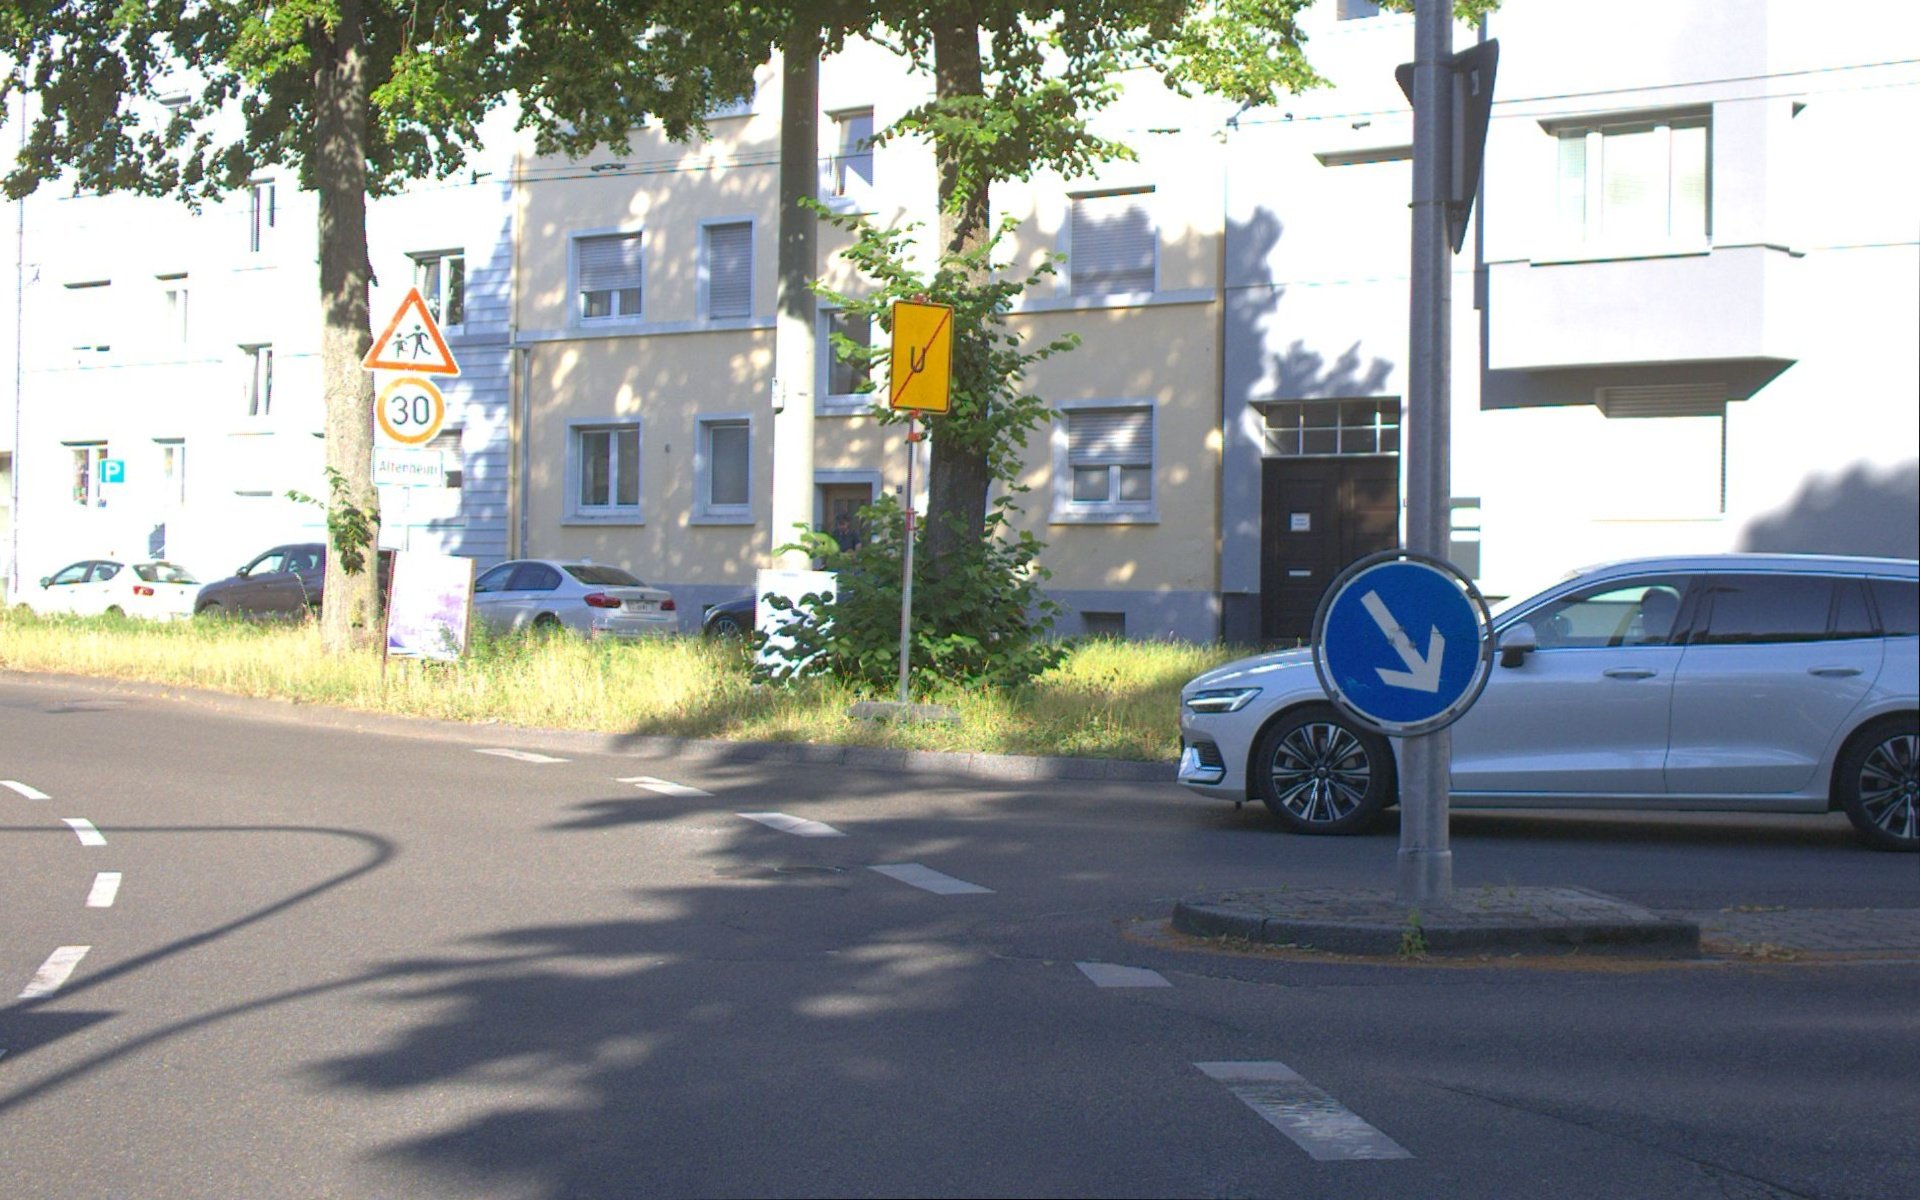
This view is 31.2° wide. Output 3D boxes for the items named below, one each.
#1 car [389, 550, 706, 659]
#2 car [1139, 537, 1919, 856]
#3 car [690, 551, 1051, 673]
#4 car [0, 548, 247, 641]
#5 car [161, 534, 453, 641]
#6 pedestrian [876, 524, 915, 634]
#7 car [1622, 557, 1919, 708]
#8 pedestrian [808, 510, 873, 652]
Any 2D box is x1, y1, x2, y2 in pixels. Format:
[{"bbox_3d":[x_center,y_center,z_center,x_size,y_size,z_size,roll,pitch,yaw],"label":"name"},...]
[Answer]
[{"bbox_3d":[-5.864,0.033,48.577,4.443,1.381,1.995,2,2,42],"label":"car"},{"bbox_3d":[3.459,0.449,17.739,4.760,1.458,1.853,1,1,15],"label":"car"},{"bbox_3d":[-1.181,0.116,43.814,4.443,1.381,1.995,2,2,42],"label":"car"},{"bbox_3d":[-13.851,-0.114,56.077,4.442,1.381,1.995,2,2,39],"label":"car"},{"bbox_3d":[-10.005,-0.211,52.487,4.637,1.567,1.995,1,1,42],"label":"car"},{"bbox_3d":[-0.892,-0.294,47.594,0.443,1.509,0.305,1,1,35],"label":"pedestrian"},{"bbox_3d":[9.096,0.306,34.376,4.443,1.381,1.995,2,2,42],"label":"car"},{"bbox_3d":[-1.700,-0.268,48.996,0.649,2.007,0.612,1,0,42],"label":"pedestrian"}]
